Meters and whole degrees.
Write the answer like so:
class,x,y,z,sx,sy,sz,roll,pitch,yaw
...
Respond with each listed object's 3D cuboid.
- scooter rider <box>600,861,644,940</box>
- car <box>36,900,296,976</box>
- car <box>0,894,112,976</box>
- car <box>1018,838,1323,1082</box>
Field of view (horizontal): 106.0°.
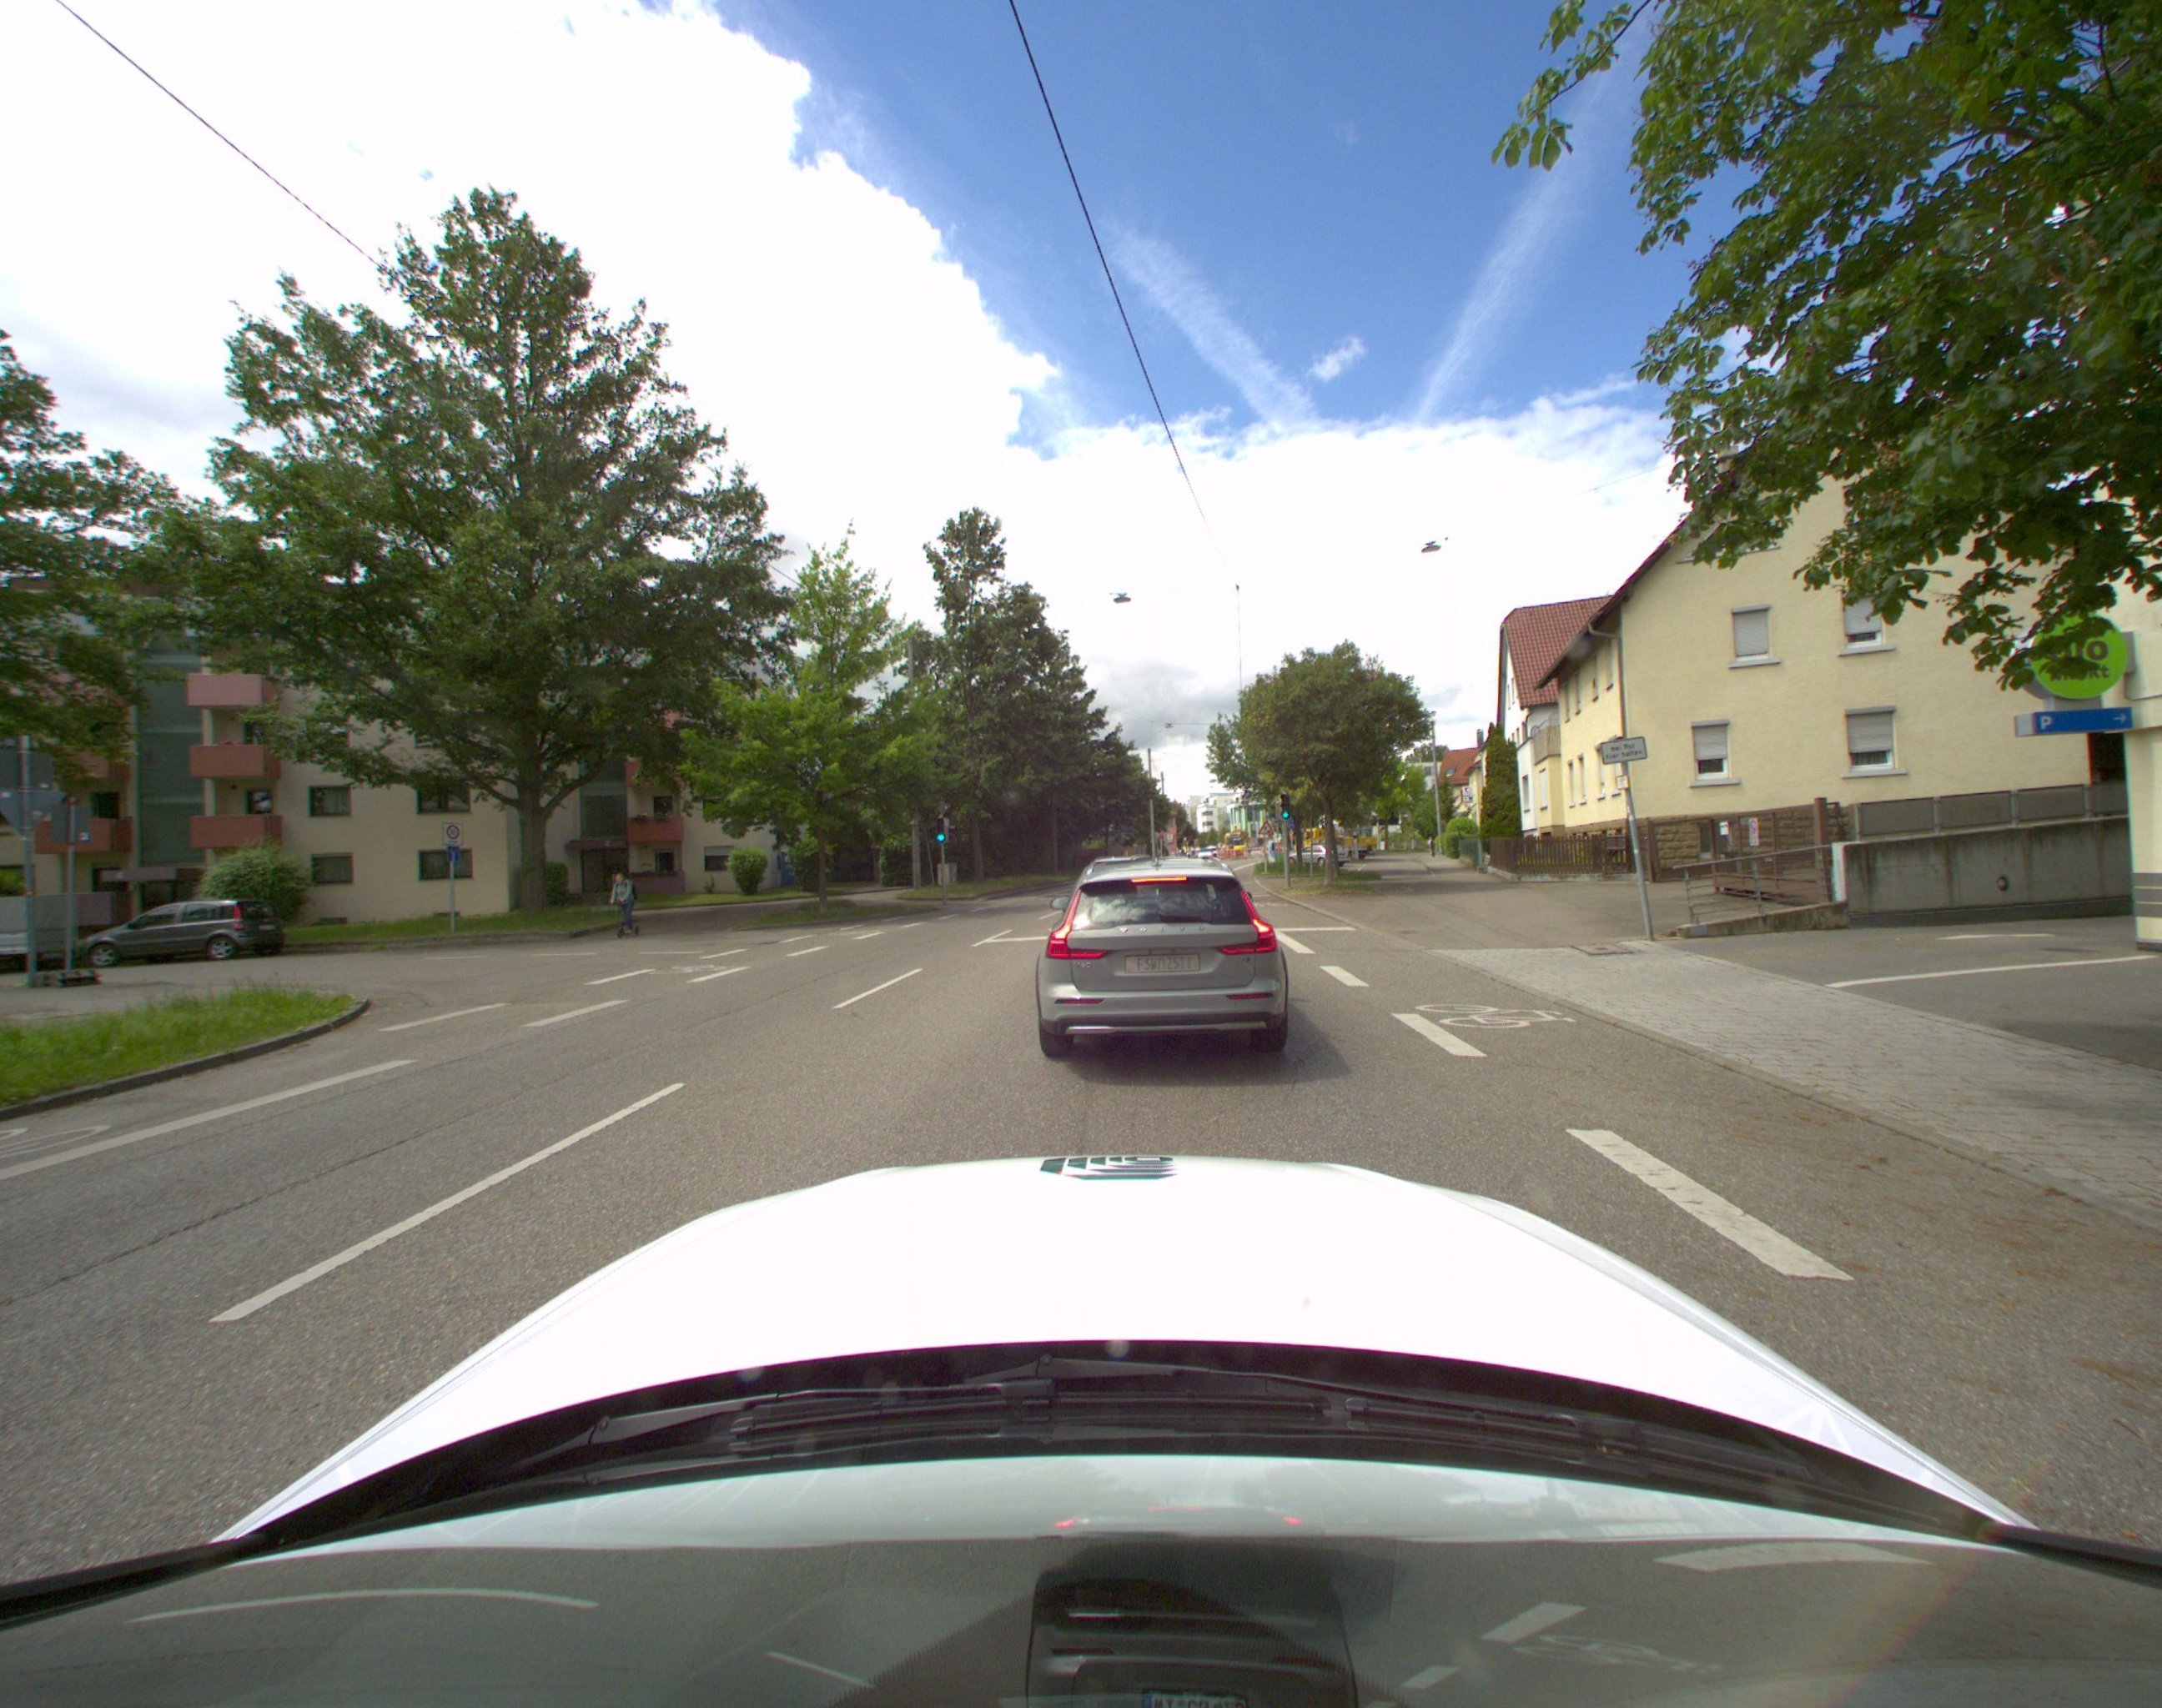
class,x,y,z,sx,sy,sz,roll,pitch,yaw
scooter rider,-12.007,1.204,21.317,0.674,2.014,0.794,0,-1,1
car,-22.774,2.052,20.455,3.995,1.452,1.687,-3,0,-16
car,-27.061,2.103,19.914,3.990,1.844,1.838,-5,-3,-12
car,0.700,0.700,7.273,1.919,1.540,4.004,-2,0,4
